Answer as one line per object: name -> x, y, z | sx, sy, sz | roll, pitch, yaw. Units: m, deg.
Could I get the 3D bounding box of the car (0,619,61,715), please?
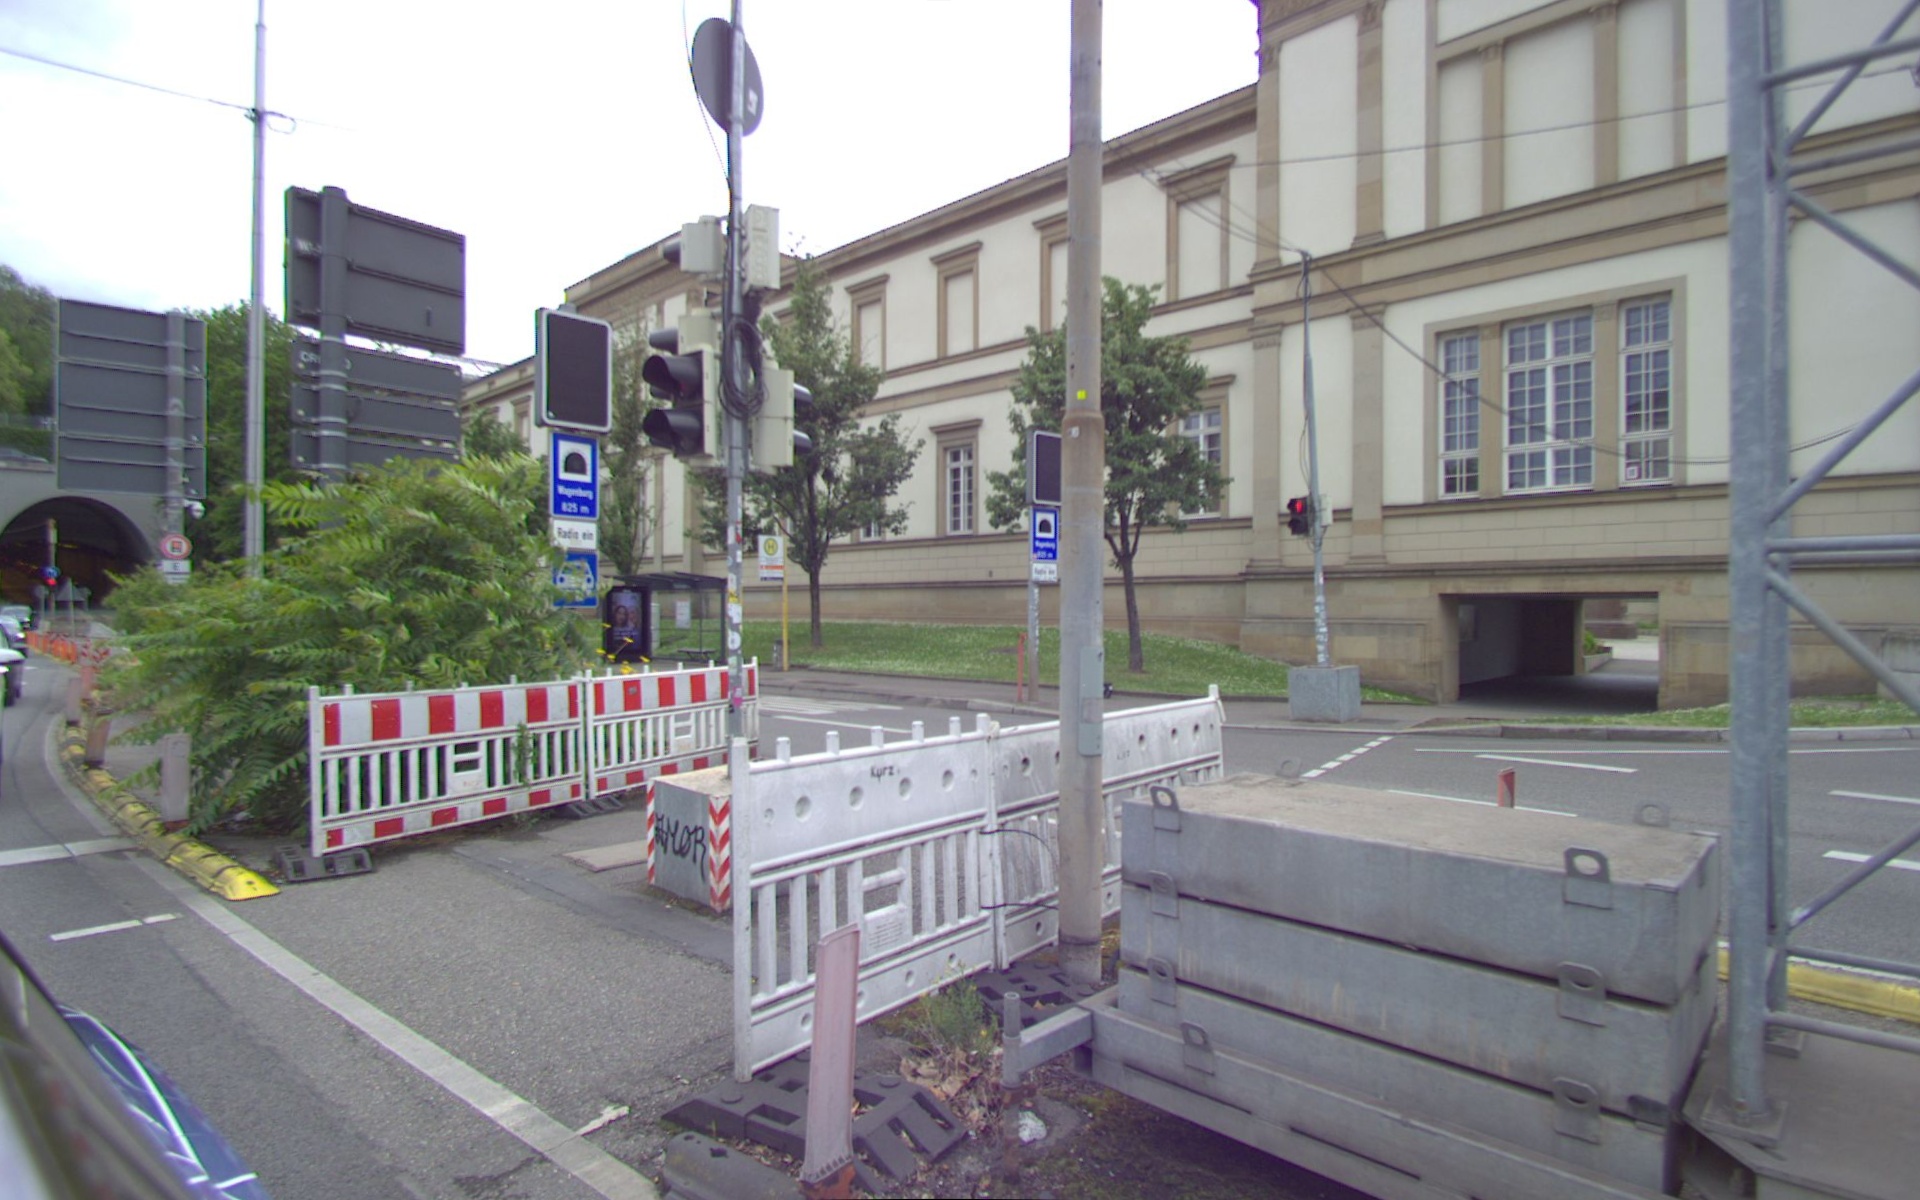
car -> -17.248, 1.123, 17.825 | 1.968, 1.564, 4.007 | 1, -1, -40

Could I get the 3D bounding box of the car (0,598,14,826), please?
car -> -8.725, 0.823, 7.856 | 3.713, 1.617, 1.787 | -2, -2, 44
